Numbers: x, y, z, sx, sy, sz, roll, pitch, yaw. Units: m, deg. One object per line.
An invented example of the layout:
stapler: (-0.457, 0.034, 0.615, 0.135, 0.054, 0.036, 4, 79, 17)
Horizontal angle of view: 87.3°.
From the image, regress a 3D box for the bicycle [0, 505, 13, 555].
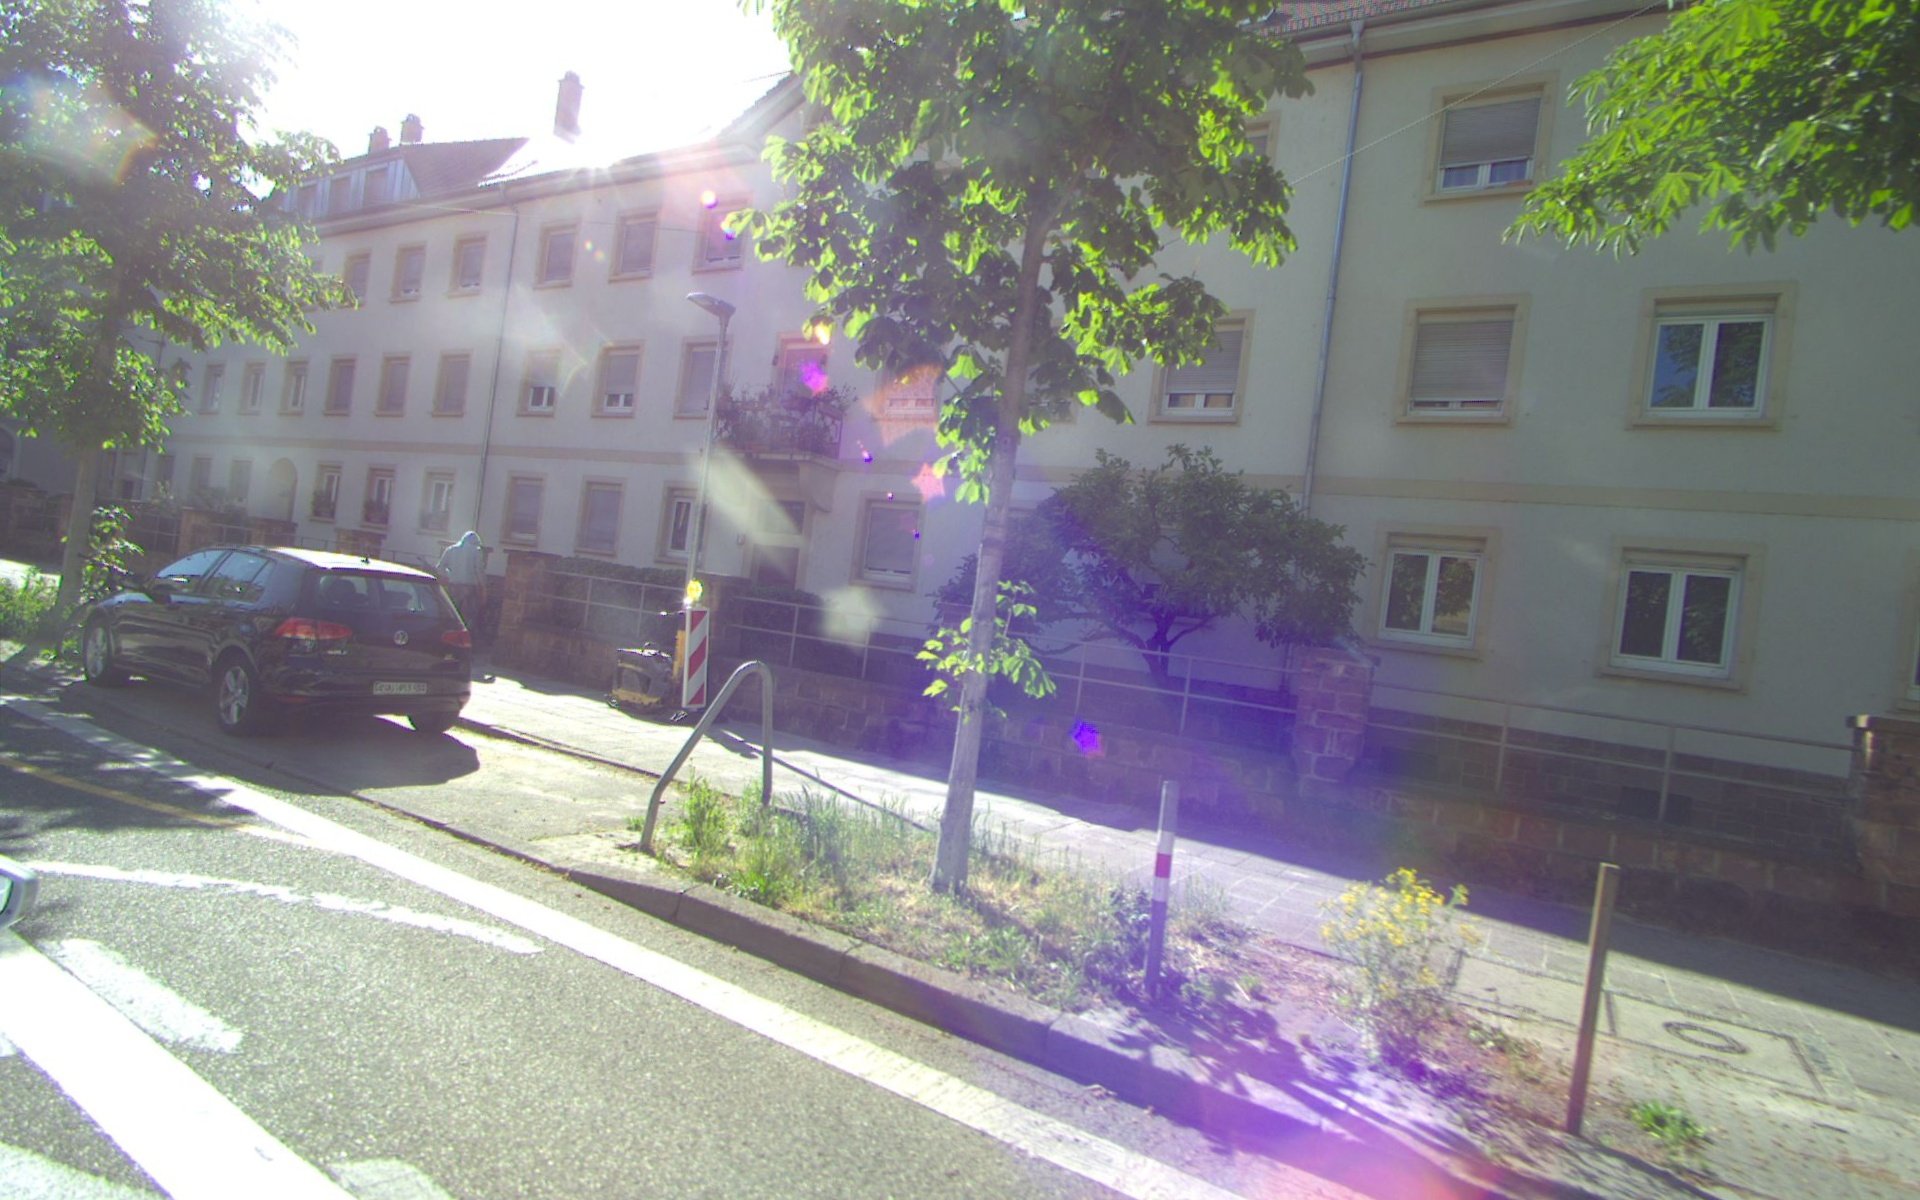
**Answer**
bicycle: (-24.969, -1.849, 25.874, 1.350, 1.237, 0.435, 7, -2, 32)

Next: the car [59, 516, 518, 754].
car: (-6.056, 0.244, 8.984, 3.977, 1.481, 1.790, 7, -1, 31)

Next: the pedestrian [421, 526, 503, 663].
pedestrian: (-6.839, -0.069, 13.813, 0.757, 1.743, 0.575, 9, -2, -30)

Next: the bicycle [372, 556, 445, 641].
bicycle: (-9.372, -0.033, 17.085, 1.403, 1.275, 0.349, 7, -2, 36)

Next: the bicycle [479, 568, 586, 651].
bicycle: (-7.311, 0.154, 17.161, 1.885, 1.165, 0.546, 7, -2, 32)

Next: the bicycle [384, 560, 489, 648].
bicycle: (-8.236, 0.048, 15.801, 1.885, 1.166, 0.448, 7, -1, 32)

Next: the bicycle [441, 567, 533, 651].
bicycle: (-7.724, 0.134, 16.396, 1.548, 1.165, 0.442, 7, -2, 32)

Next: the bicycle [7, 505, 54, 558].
bicycle: (-24.331, -1.793, 26.328, 1.350, 1.237, 0.435, 7, -2, 32)

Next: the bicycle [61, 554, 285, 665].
bicycle: (-8.643, 0.142, 11.137, 0.610, 1.080, 1.797, 7, 0, 26)
